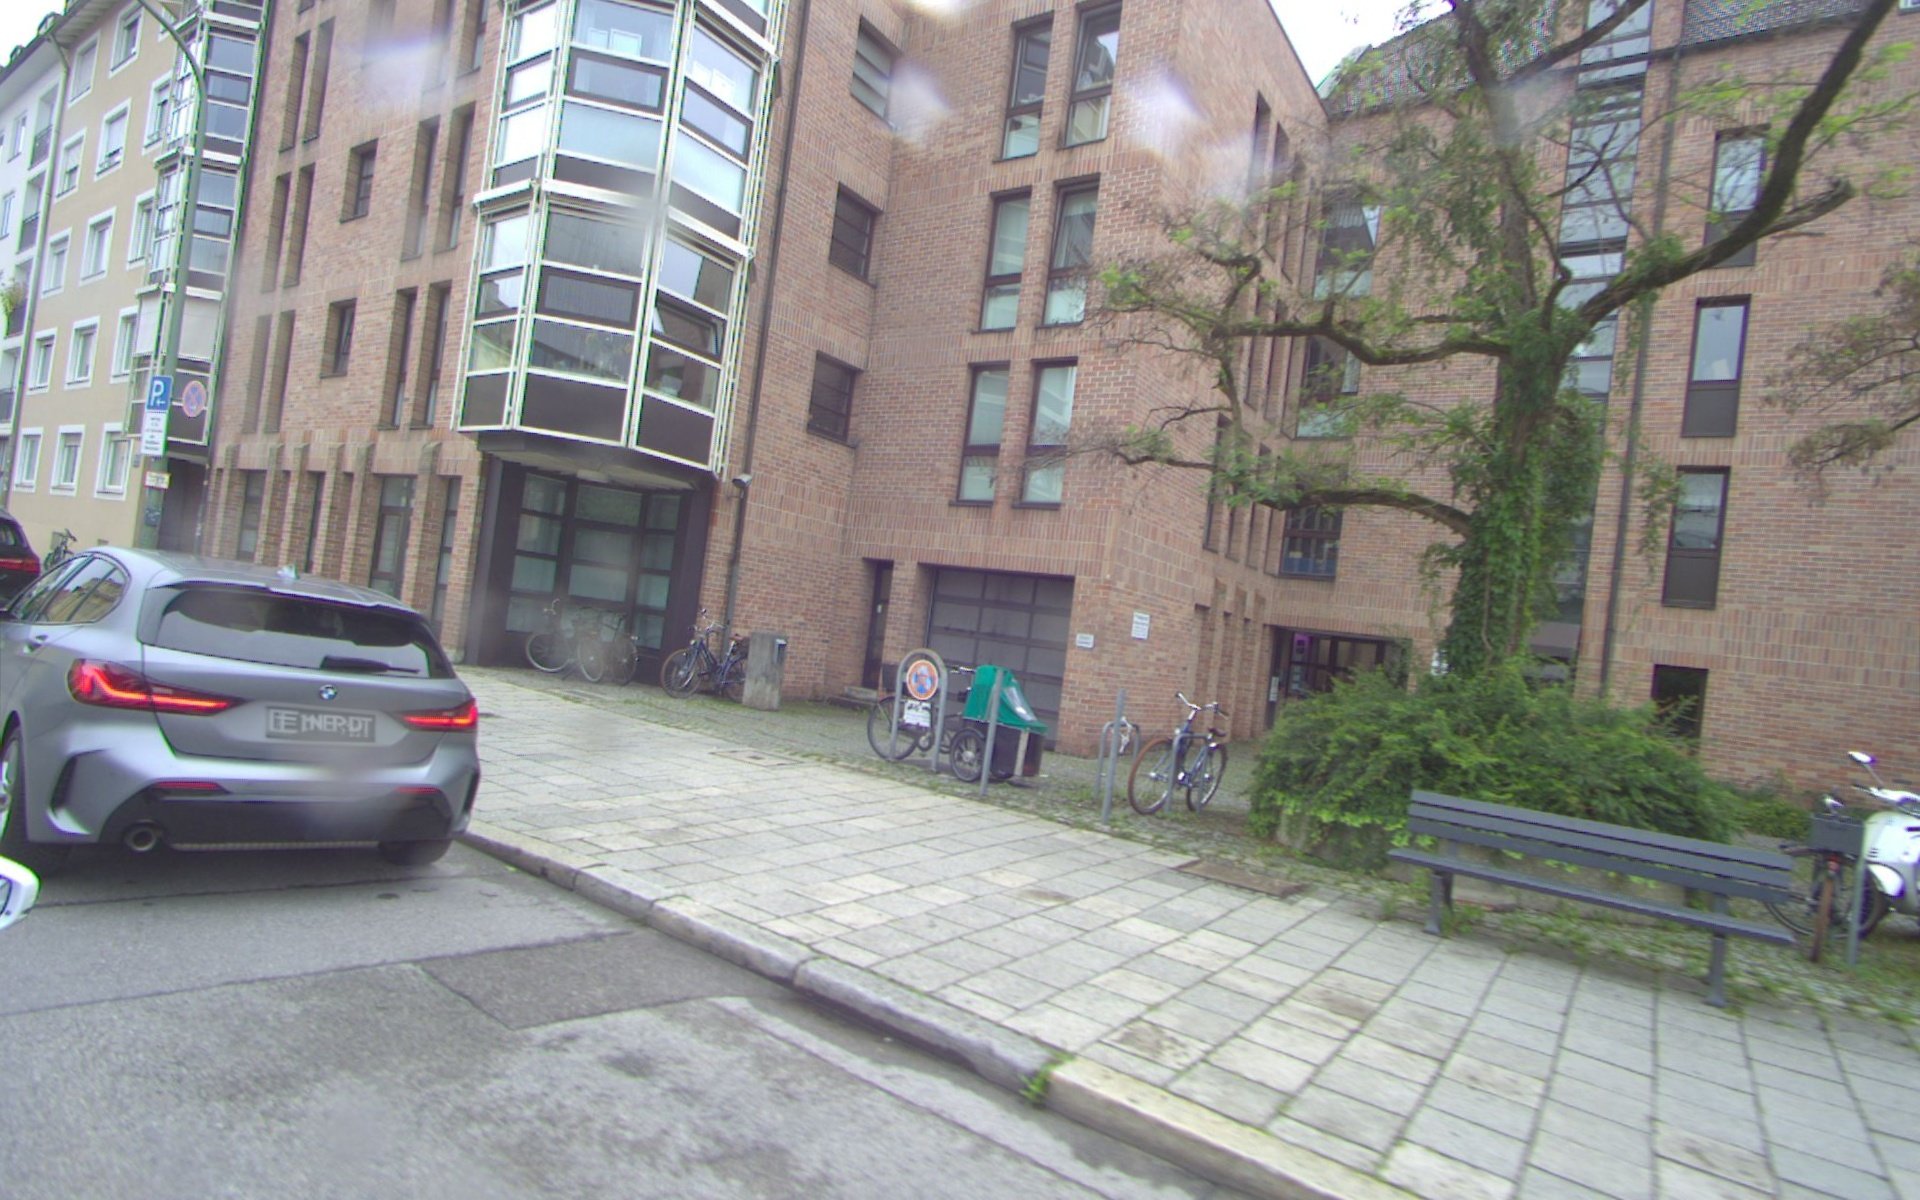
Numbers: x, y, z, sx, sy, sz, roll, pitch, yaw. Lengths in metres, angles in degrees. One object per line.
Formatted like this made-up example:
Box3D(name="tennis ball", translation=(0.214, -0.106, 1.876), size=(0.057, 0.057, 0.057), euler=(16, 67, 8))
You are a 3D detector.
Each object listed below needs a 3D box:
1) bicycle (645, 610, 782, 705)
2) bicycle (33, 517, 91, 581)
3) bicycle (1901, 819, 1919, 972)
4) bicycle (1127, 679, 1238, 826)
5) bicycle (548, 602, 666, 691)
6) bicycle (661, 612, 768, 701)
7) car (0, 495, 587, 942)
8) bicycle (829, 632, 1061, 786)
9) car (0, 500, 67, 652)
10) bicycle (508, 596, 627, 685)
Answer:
Box3D(name="bicycle", translation=(-3.577, 0.864, 14.735), size=(0.481, 1.159, 1.847), euler=(8, -3, 43))
Box3D(name="bicycle", translation=(-22.008, -1.267, 24.621), size=(2.635, 1.302, 0.468), euler=(7, -2, 38))
Box3D(name="bicycle", translation=(6.513, 1.964, 6.367), size=(0.538, 0.976, 1.702), euler=(8, -3, 37))
Box3D(name="bicycle", translation=(2.094, 1.411, 9.621), size=(0.414, 1.186, 1.360), euler=(9, -2, -8))
Box3D(name="bicycle", translation=(-5.360, 0.690, 15.215), size=(1.964, 1.071, 0.487), euler=(7, -2, 35))
Box3D(name="bicycle", translation=(-3.728, 0.879, 15.363), size=(0.378, 1.159, 1.476), euler=(8, -3, 43))
Box3D(name="car", translation=(-4.256, 0.376, 5.589), size=(4.325, 1.528, 1.927), euler=(6, -4, 37))
Box3D(name="bicycle", translation=(-0.201, 1.095, 10.484), size=(2.373, 1.262, 0.535), euler=(5, -3, 32))
Box3D(name="car", translation=(-12.585, -0.556, 11.928), size=(4.197, 1.619, 1.834), euler=(8, -3, 34))
Box3D(name="bicycle", translation=(-5.785, 0.578, 14.780), size=(1.964, 1.071, 0.487), euler=(6, -3, 35))
